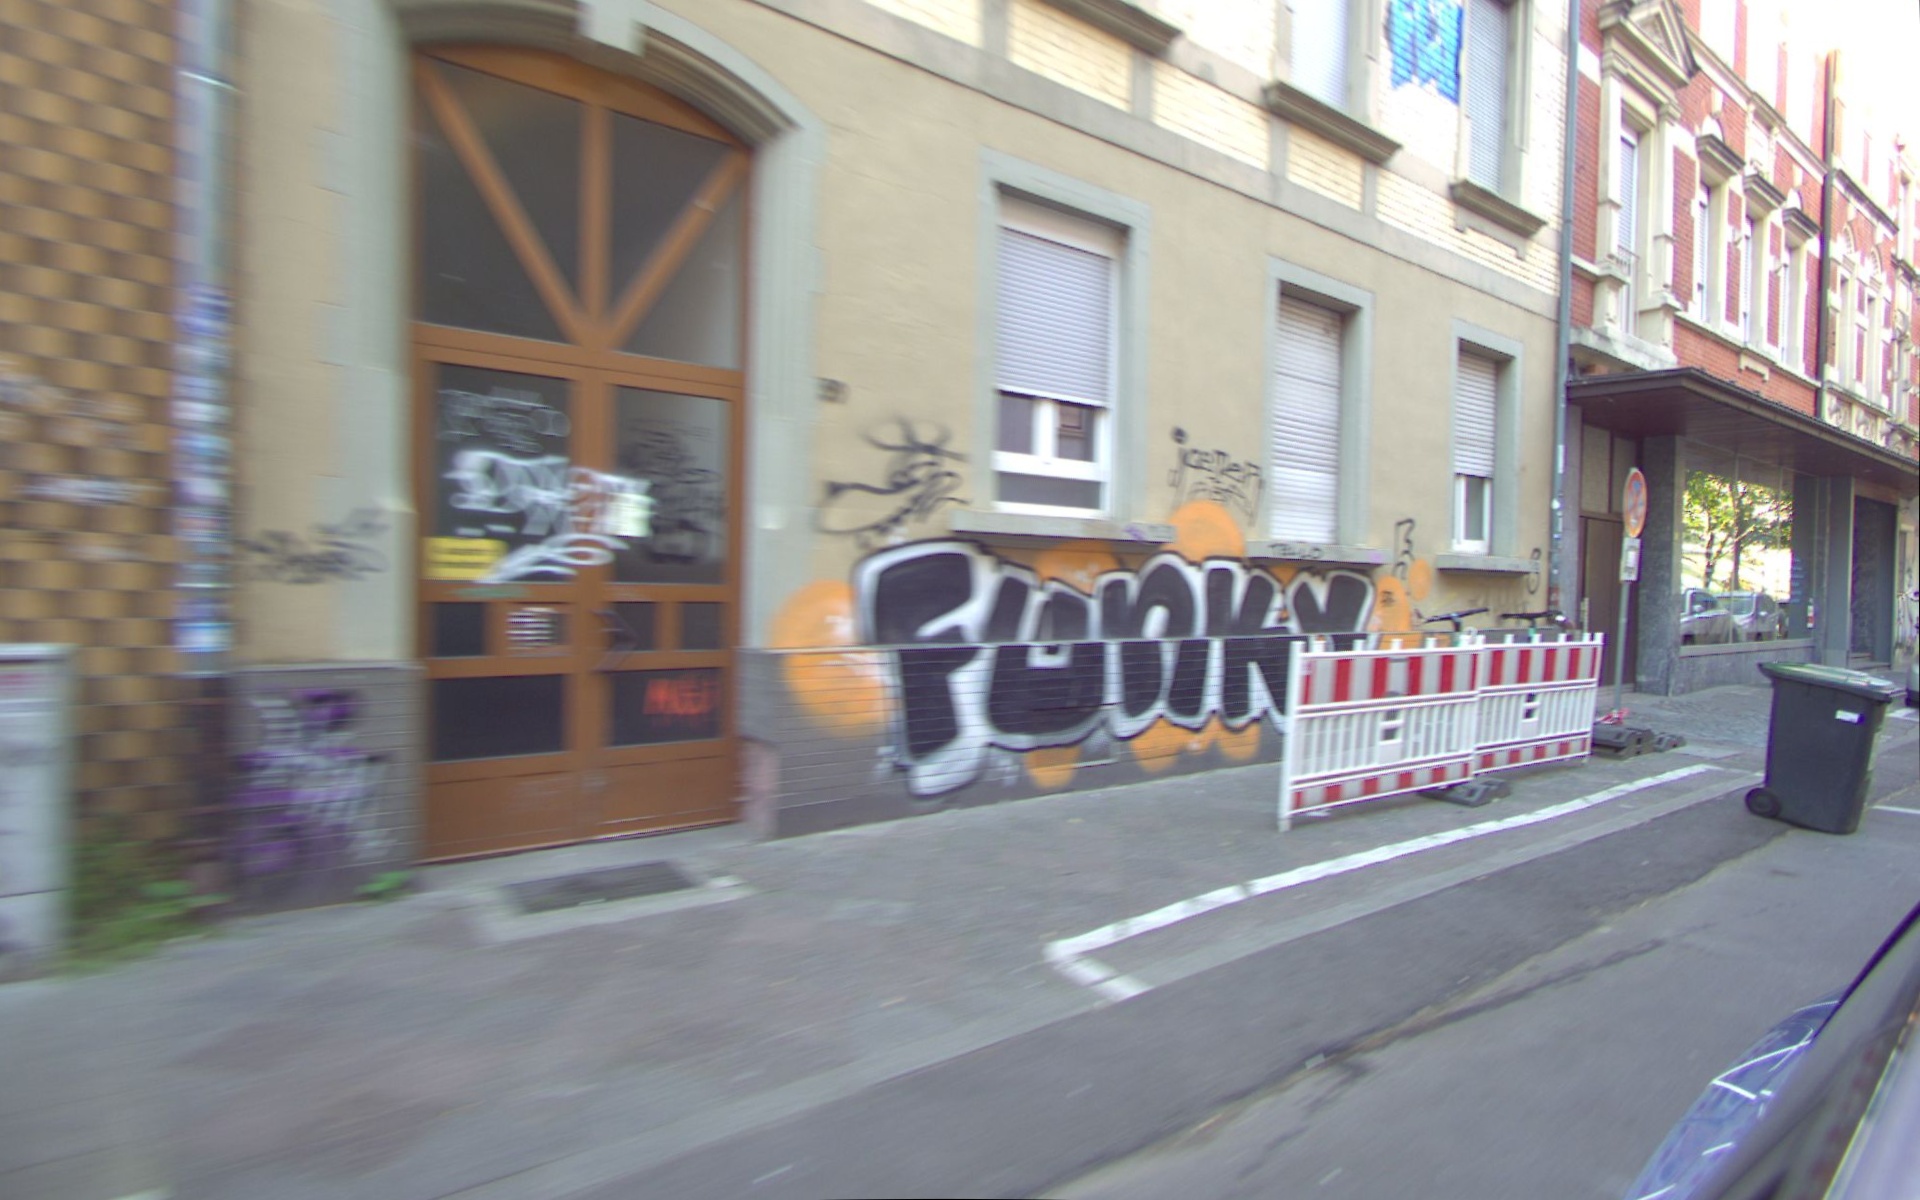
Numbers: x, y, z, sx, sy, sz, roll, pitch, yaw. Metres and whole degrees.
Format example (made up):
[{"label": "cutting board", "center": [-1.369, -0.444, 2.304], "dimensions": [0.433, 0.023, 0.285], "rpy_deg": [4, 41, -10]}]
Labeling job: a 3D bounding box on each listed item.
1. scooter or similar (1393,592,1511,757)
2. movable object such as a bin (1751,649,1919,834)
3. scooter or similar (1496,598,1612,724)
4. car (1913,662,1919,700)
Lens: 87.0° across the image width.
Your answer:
[{"label": "scooter or similar", "center": [4.196, 0.579, 8.585], "dimensions": [0.454, 1.223, 1.423], "rpy_deg": [7, 6, 40]}, {"label": "movable object such as a bin", "center": [5.917, 0.906, 6.808], "dimensions": [0.674, 1.070, 0.743], "rpy_deg": [0, 3, -36]}, {"label": "scooter or similar", "center": [5.950, 0.574, 10.115], "dimensions": [1.417, 1.157, 0.389], "rpy_deg": [0, 5, -37]}, {"label": "car", "center": [14.038, 0.605, 13.249], "dimensions": [3.399, 1.551, 1.528], "rpy_deg": [0, 8, -37]}]
